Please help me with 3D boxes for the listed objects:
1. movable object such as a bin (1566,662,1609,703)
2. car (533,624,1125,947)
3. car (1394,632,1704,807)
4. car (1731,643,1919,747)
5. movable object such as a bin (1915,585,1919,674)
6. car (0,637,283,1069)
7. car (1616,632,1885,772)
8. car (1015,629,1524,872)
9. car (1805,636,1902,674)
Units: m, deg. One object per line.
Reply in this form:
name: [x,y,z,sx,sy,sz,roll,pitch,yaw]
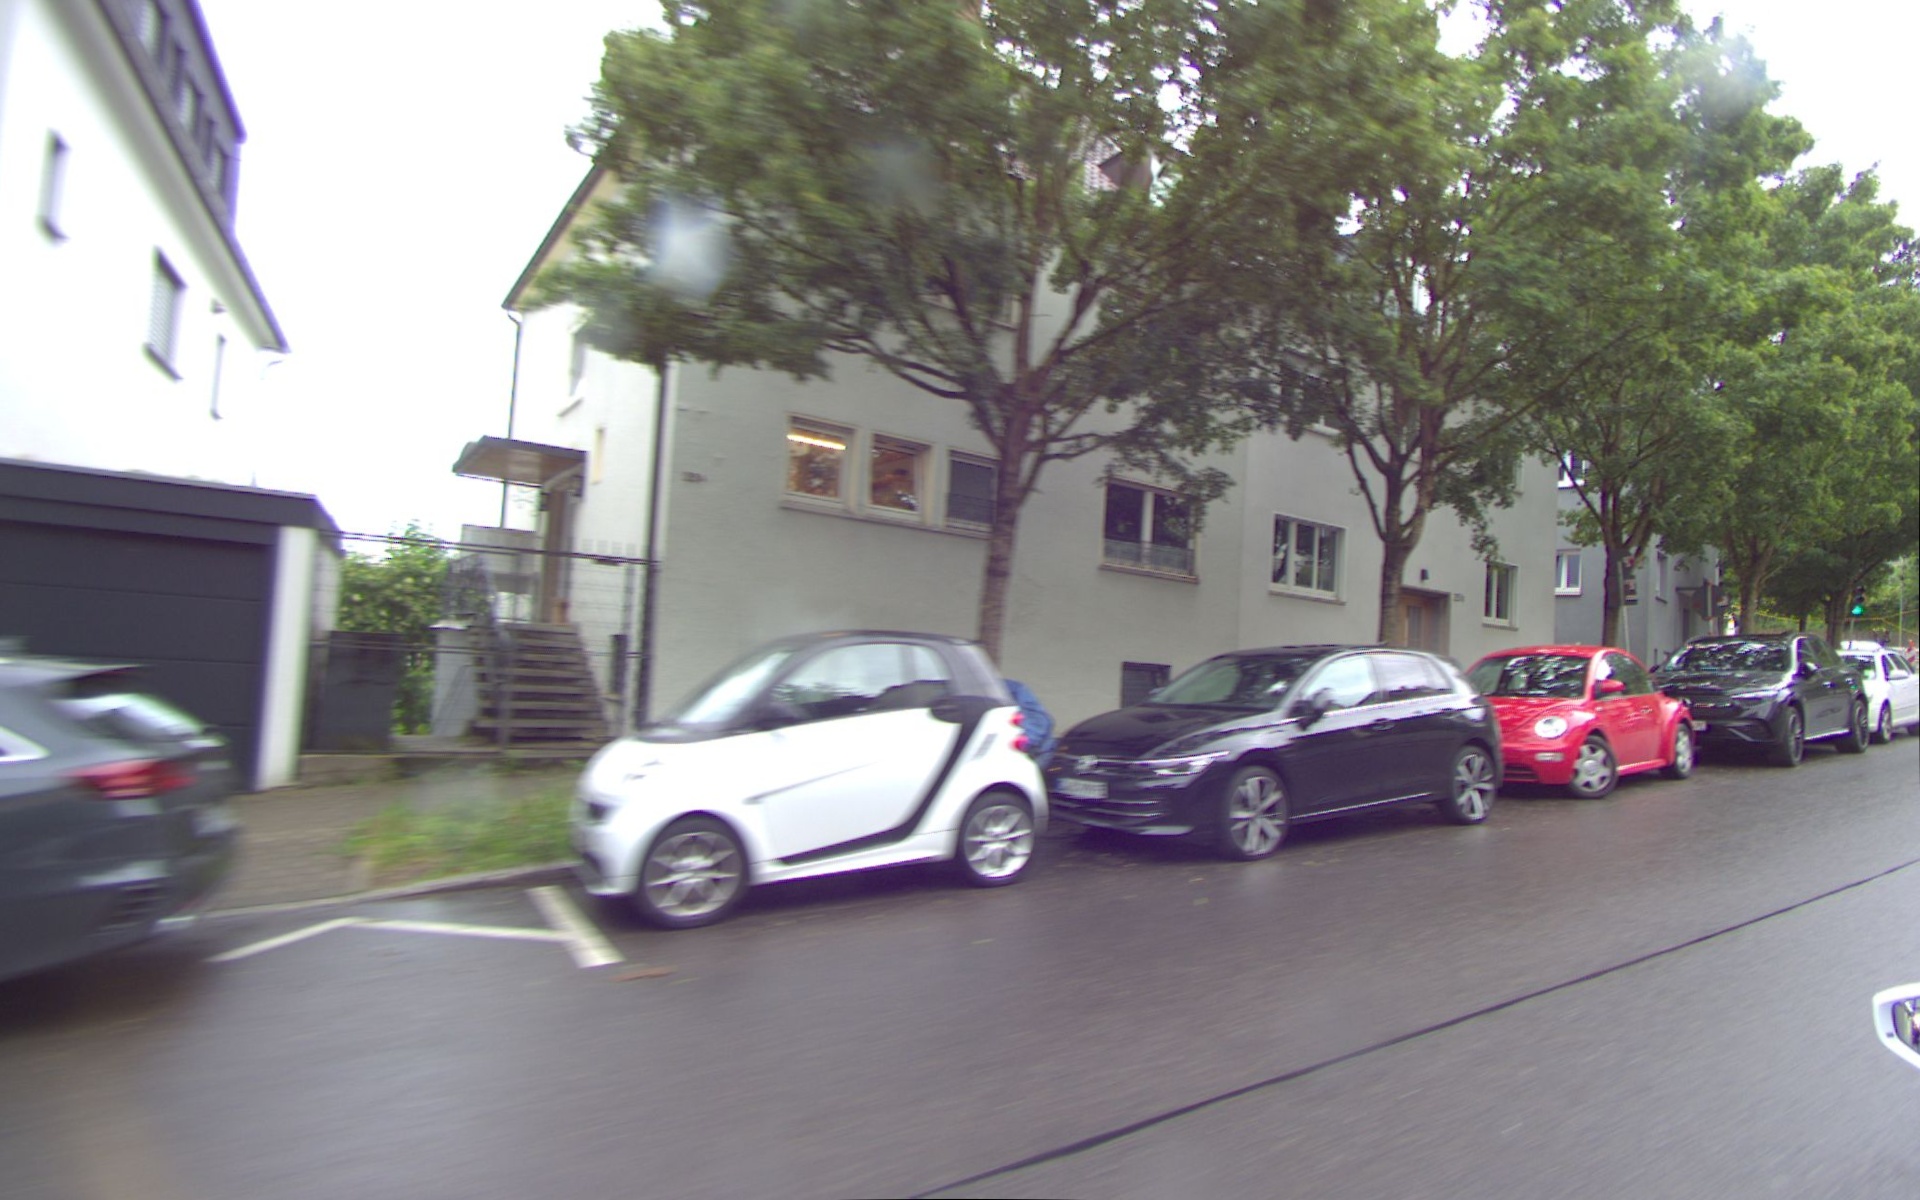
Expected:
movable object such as a bin: [15.576,2.042,24.938,0.635,0.963,0.653,1,-2,-26]
car: [-0.778,1.009,6.314,3.343,1.530,1.549,2,-6,-30]
car: [6.521,1.233,10.984,3.815,1.584,1.621,4,-6,-38]
car: [14.801,1.523,16.911,4.274,1.528,1.671,1,-5,-36]
movable object such as a bin: [43.324,1.264,42.468,2.779,4.067,7.310,0,-1,32]
car: [-5.181,0.906,3.528,4.419,1.507,1.658,2,-6,-28]
car: [10.872,1.283,13.706,4.533,1.629,1.671,1,-4,-36]
car: [2.550,1.085,8.010,4.051,1.507,1.548,3,-6,-31]
car: [37.743,2.310,42.550,1.693,1.505,4.076,-1,-3,21]
